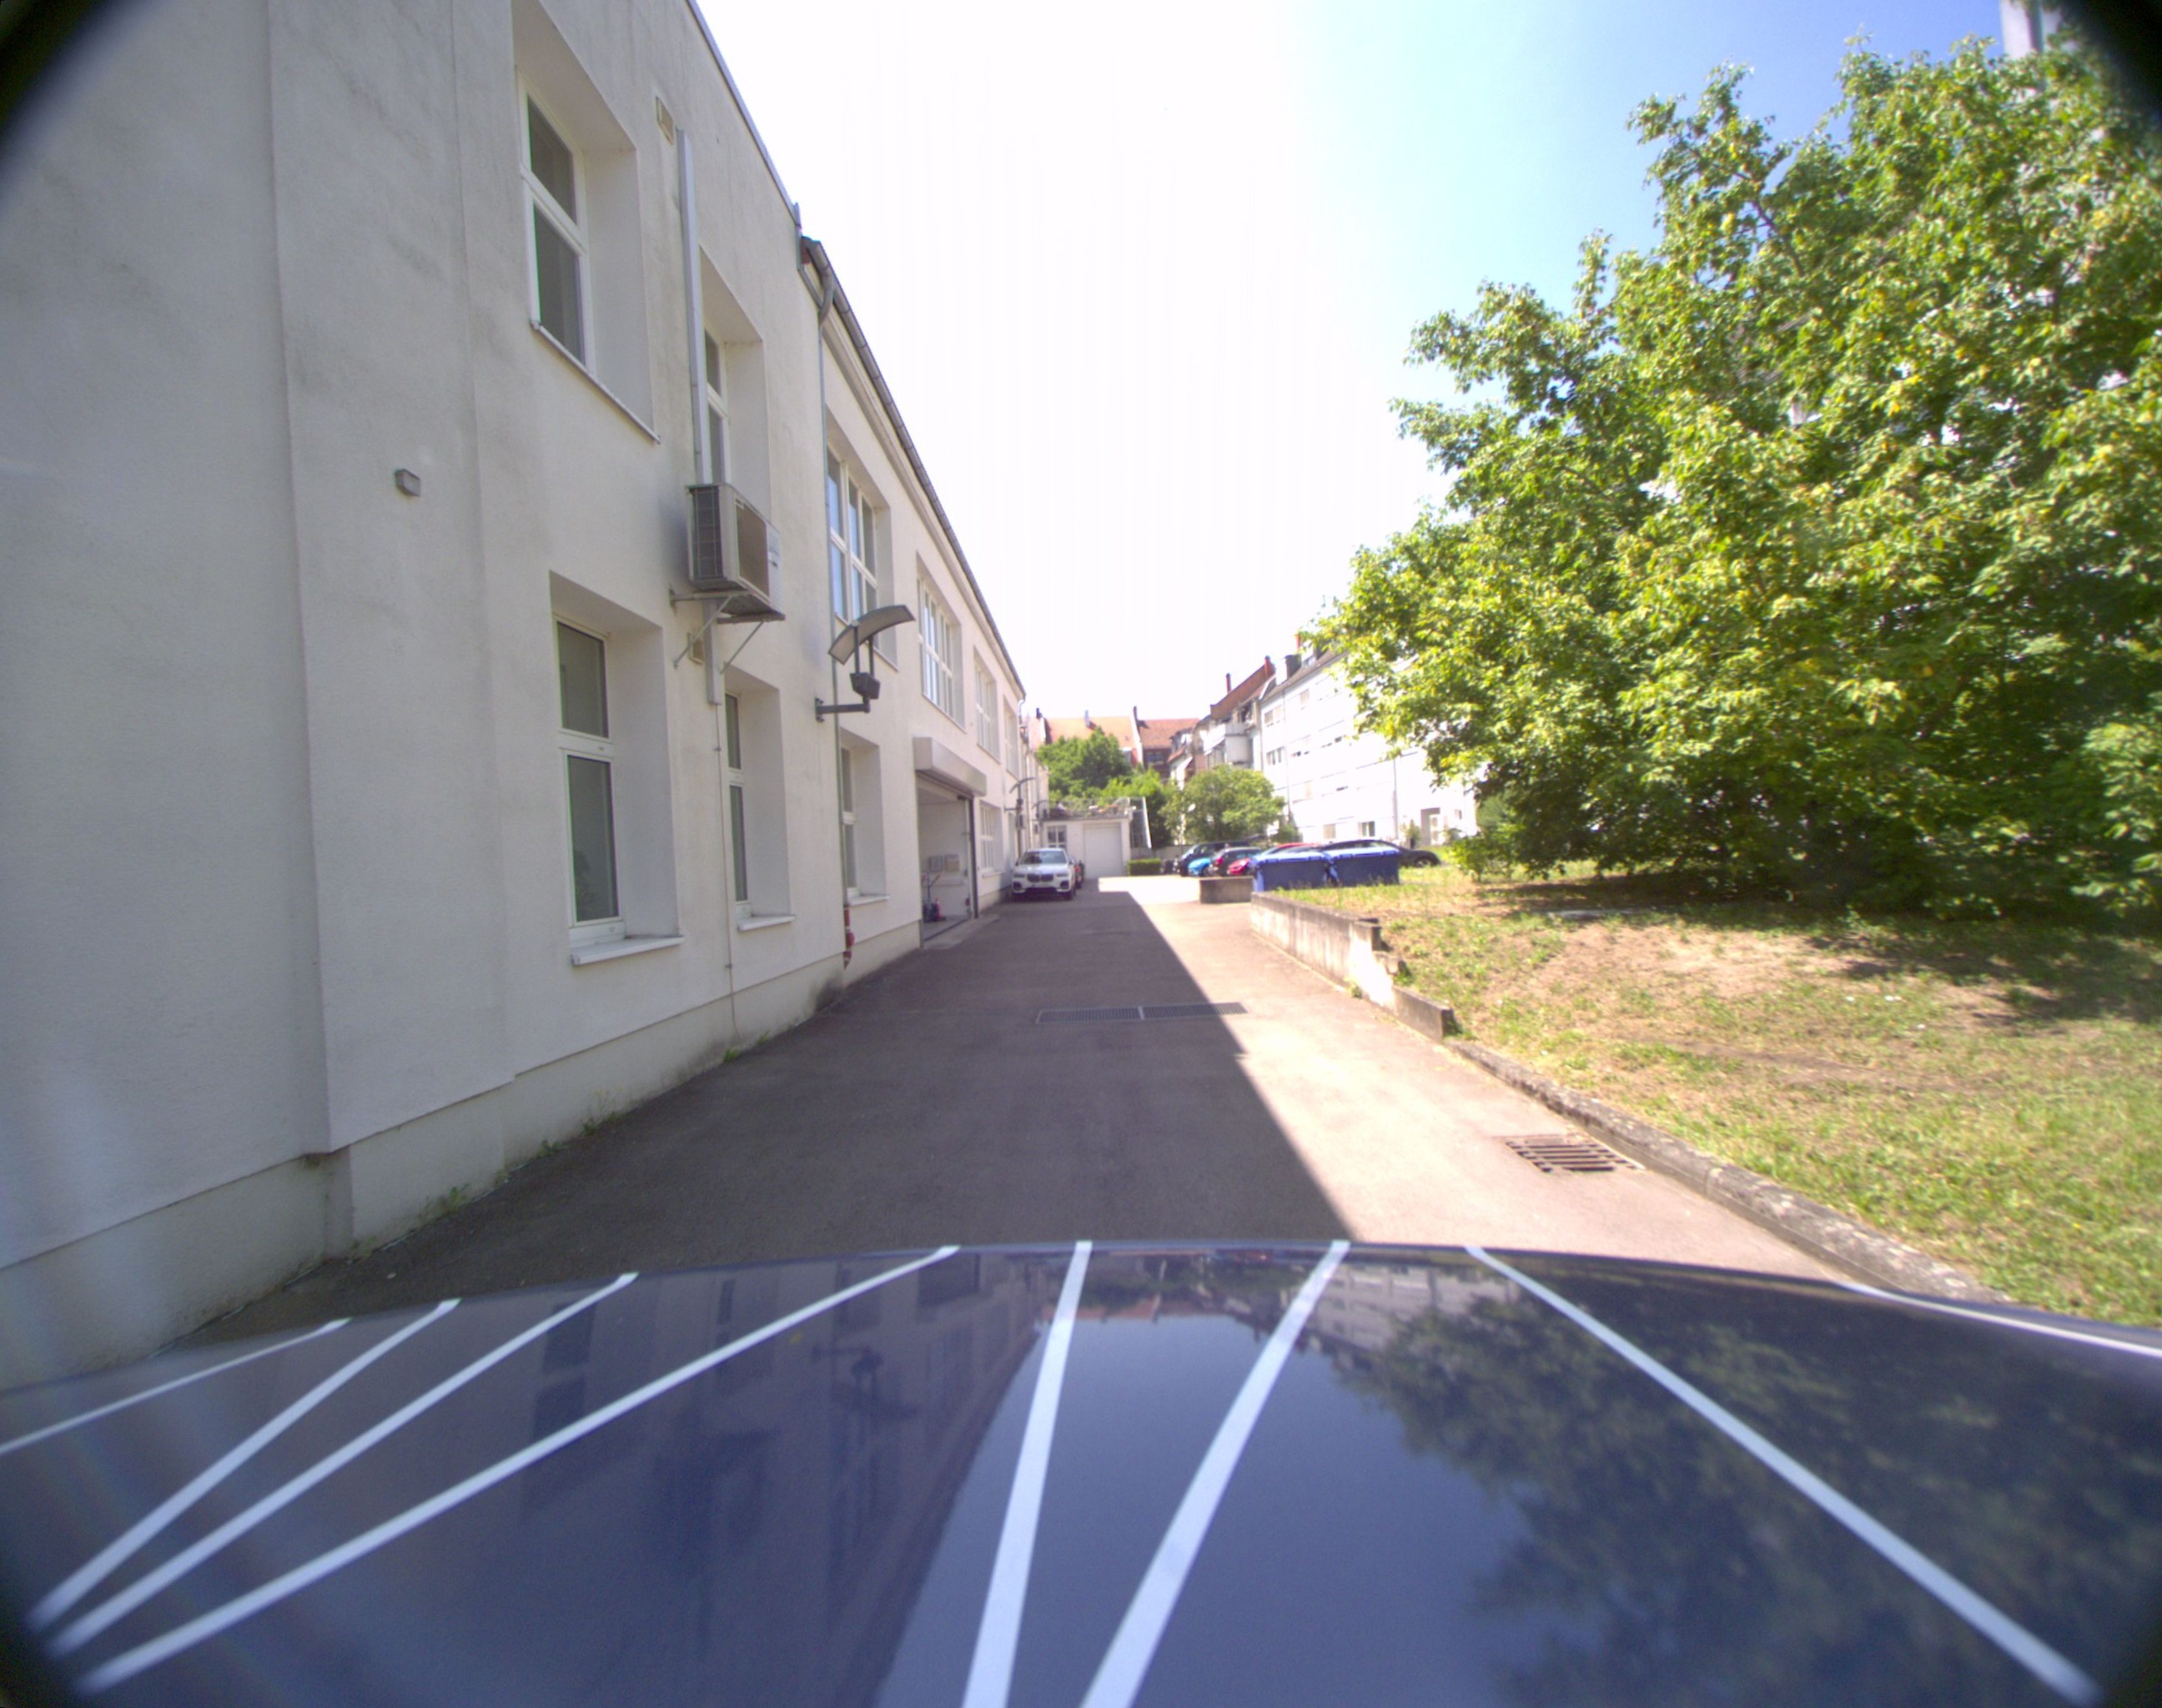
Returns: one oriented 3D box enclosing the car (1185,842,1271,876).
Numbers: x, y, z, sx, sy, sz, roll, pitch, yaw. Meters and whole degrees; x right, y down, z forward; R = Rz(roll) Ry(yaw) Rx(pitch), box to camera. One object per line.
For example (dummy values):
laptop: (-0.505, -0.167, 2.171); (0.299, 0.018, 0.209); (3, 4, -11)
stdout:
car: (7.866, 0.246, 40.929); (4.223, 1.560, 1.612); (-3, 1, -3)

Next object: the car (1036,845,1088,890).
car: (-0.808, 0.558, 34.870); (2.011, 1.793, 4.727); (-3, 1, 2)

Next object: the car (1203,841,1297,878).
car: (8.380, 0.259, 37.853); (4.223, 1.560, 1.612); (-3, 1, -3)

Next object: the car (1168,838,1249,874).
car: (7.332, 0.090, 43.880); (4.223, 1.813, 2.009); (-3, 1, -3)

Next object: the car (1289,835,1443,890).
car: (9.385, 0.259, 25.186); (4.444, 1.560, 1.612); (-3, 1, -3)

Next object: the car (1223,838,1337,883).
car: (8.132, 0.240, 31.239); (4.223, 1.560, 1.612); (-3, 1, -3)

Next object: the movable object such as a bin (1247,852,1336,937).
movable object such as a bin: (3.752, 0.703, 13.646); (1.271, 1.380, 1.095); (-3, 1, 2)

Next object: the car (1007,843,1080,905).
car: (-1.171, 0.590, 26.073); (2.011, 1.793, 4.727); (-3, 1, 2)

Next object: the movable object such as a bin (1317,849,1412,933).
movable object such as a bin: (5.049, 0.639, 13.628); (1.271, 1.380, 1.095); (-3, 1, 2)

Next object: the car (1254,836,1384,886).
car: (8.683, 0.242, 27.915); (4.223, 1.560, 1.612); (-3, 1, -3)
